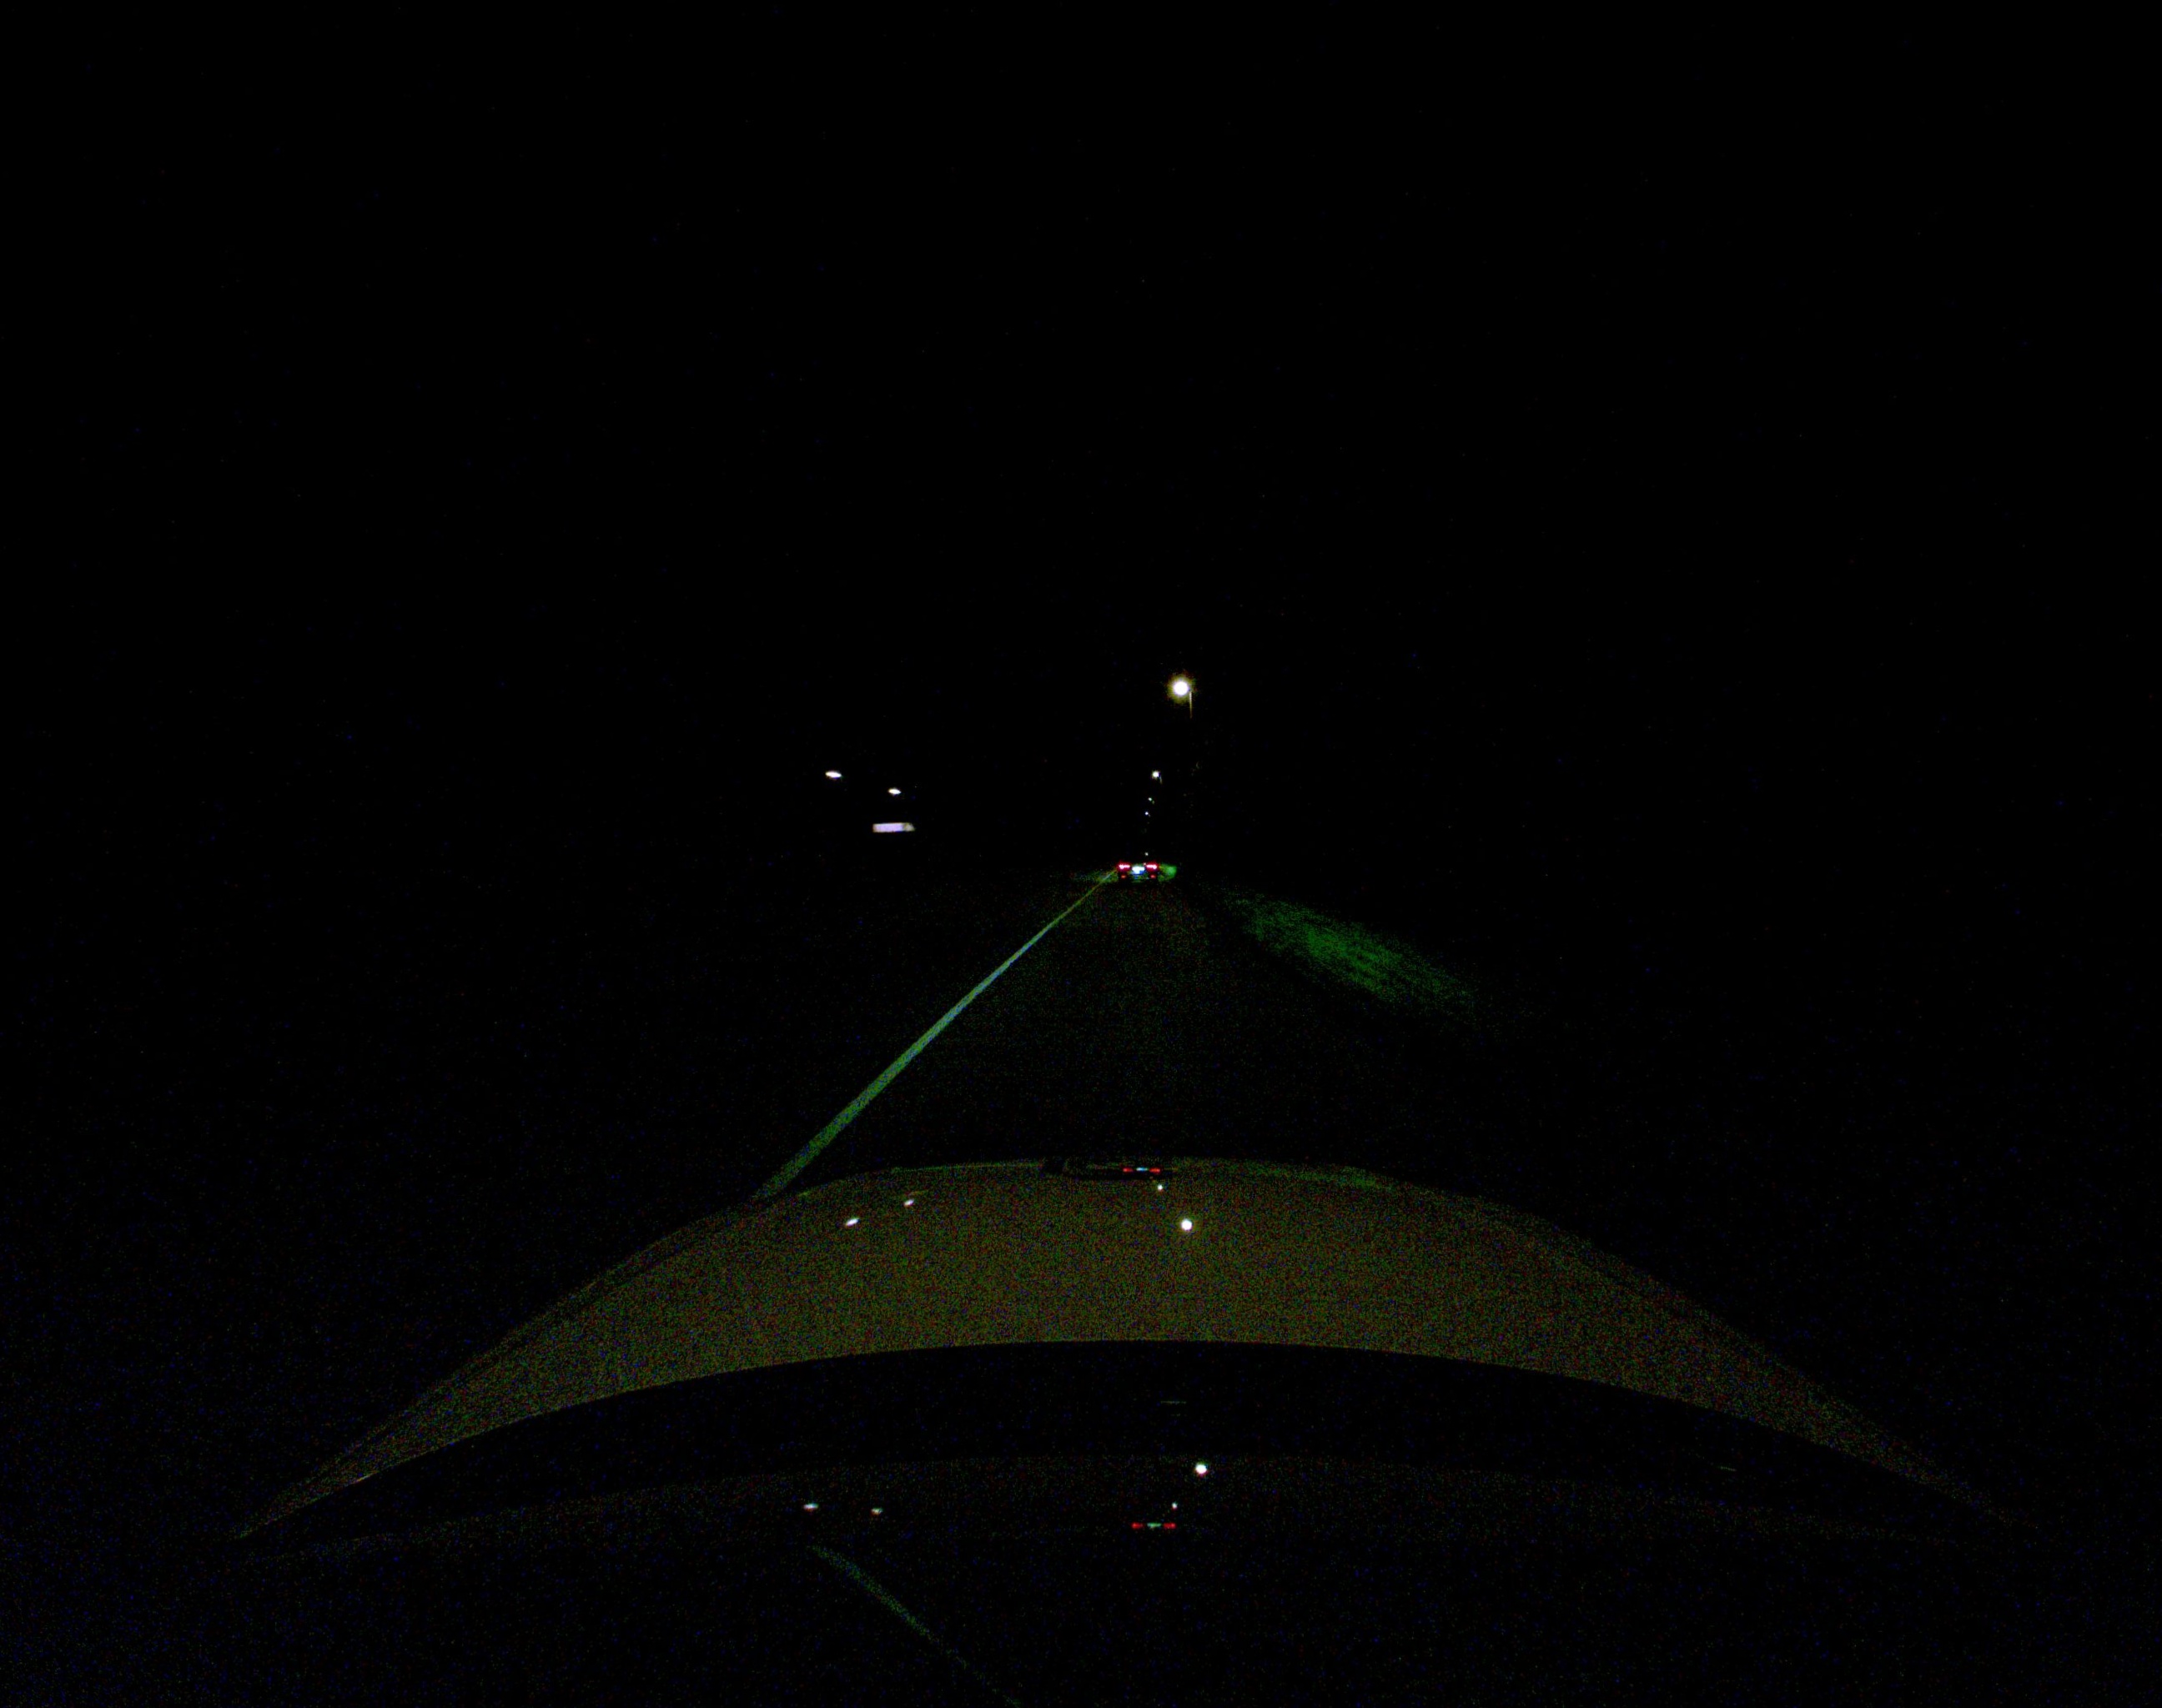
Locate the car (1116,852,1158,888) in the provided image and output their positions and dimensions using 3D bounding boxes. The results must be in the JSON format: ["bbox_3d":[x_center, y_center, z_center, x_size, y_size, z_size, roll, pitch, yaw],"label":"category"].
[{"bbox_3d":[2.572,0.705,37.662,1.807,1.573,3.947,-1,0,3],"label":"car"}]
